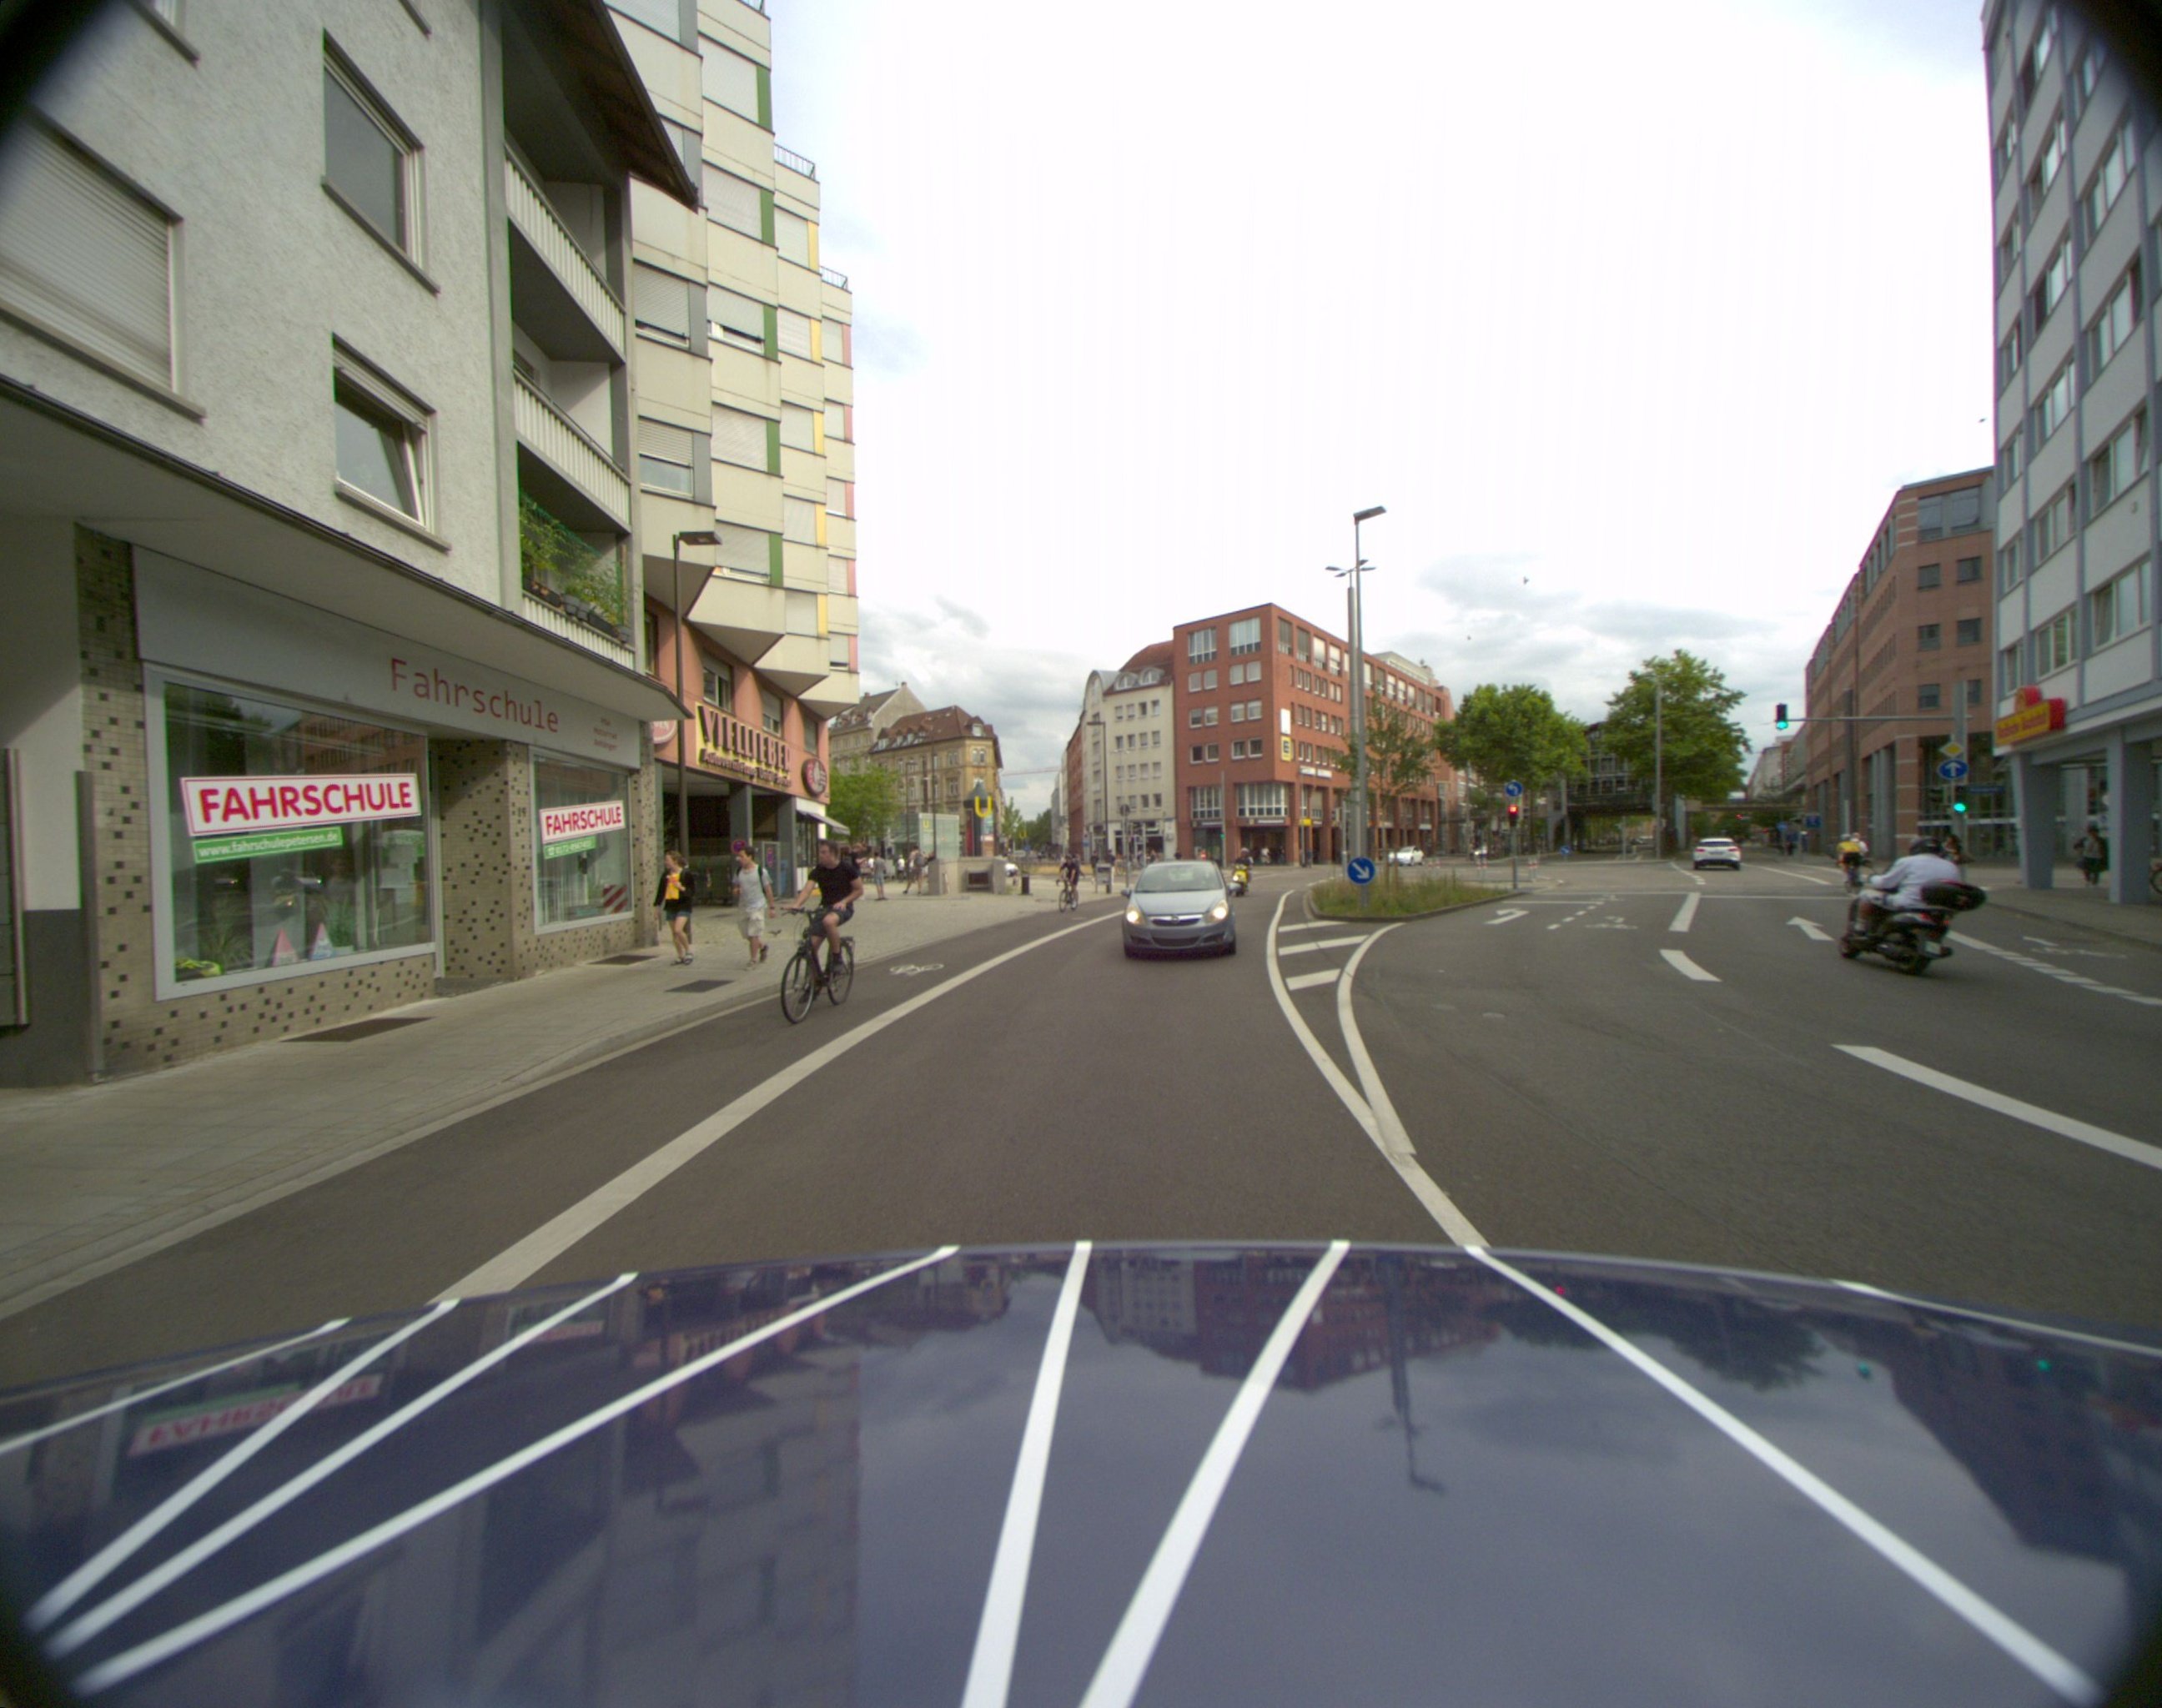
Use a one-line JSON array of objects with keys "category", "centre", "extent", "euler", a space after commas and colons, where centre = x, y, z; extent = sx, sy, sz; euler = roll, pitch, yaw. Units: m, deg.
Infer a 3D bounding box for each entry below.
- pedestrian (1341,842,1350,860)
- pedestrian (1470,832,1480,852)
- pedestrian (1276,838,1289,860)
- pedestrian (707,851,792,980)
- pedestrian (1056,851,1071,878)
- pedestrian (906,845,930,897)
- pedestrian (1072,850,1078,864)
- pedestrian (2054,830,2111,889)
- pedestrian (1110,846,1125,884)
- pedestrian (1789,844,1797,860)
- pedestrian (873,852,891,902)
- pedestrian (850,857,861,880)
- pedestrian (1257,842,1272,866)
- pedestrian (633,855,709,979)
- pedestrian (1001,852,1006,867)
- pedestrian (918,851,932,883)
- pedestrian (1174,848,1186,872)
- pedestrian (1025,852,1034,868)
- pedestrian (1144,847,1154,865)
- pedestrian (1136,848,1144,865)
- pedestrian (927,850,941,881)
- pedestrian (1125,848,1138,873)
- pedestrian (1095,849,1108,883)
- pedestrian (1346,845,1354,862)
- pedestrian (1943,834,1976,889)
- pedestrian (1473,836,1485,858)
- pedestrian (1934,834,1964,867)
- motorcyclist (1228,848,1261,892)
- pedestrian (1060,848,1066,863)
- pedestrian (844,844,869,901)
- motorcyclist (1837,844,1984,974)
[{"category": "pedestrian", "centre": [25.113, -0.320, 72.149], "extent": [0.646, 1.687, 0.699], "euler": [1, 3, 38]}, {"category": "pedestrian", "centre": [34.671, -1.039, 66.857], "extent": [0.578, 1.781, 0.534], "euler": [-2, 1, -30]}, {"category": "pedestrian", "centre": [18.789, -0.495, 70.683], "extent": [0.814, 2.002, 0.799], "euler": [-3, 0, 38]}, {"category": "pedestrian", "centre": [-4.705, 0.852, 10.842], "extent": [0.753, 1.739, 0.859], "euler": [2, -1, 2]}, {"category": "pedestrian", "centre": [-1.113, 0.650, 48.643], "extent": [0.633, 1.685, 0.708], "euler": [-1, 1, 42]}, {"category": "pedestrian", "centre": [-5.982, 0.606, 27.916], "extent": [0.658, 1.842, 0.971], "euler": [2, 1, -1]}, {"category": "pedestrian", "centre": [-0.719, 0.350, 89.860], "extent": [0.541, 1.712, 0.519], "euler": [-2, 1, -13]}, {"category": "pedestrian", "centre": [27.398, 0.144, 20.794], "extent": [0.660, 1.585, 0.688], "euler": [-1, 1, -3]}, {"category": "pedestrian", "centre": [1.956, 0.588, 40.287], "extent": [0.720, 1.960, 1.014], "euler": [1, 0, 4]}, {"category": "pedestrian", "centre": [69.529, -0.226, 74.153], "extent": [0.527, 1.564, 0.602], "euler": [0, 2, 40]}, {"category": "pedestrian", "centre": [-6.660, 0.758, 25.449], "extent": [0.474, 1.663, 0.589], "euler": [1, 1, -4]}, {"category": "pedestrian", "centre": [-15.956, 1.023, 53.731], "extent": [0.676, 1.632, 0.440], "euler": [-1, 1, 40]}, {"category": "pedestrian", "centre": [16.450, 0.005, 68.176], "extent": [0.998, 2.002, 1.045], "euler": [-3, 0, -1]}, {"category": "pedestrian", "centre": [-5.802, 0.860, 10.789], "extent": [0.606, 1.659, 0.943], "euler": [2, 1, -6]}, {"category": "pedestrian", "centre": [-8.594, 0.624, 84.445], "extent": [0.425, 1.675, 0.514], "euler": [-2, 1, -17]}, {"category": "pedestrian", "centre": [-9.069, 0.746, 44.255], "extent": [0.547, 1.856, 0.586], "euler": [0, 0, 36]}, {"category": "pedestrian", "centre": [7.417, 0.437, 56.725], "extent": [0.567, 1.813, 0.697], "euler": [0, 1, 40]}, {"category": "pedestrian", "centre": [-5.402, 0.592, 79.671], "extent": [0.606, 1.675, 0.732], "euler": [-2, 1, -26]}, {"category": "pedestrian", "centre": [6.286, 0.175, 70.237], "extent": [0.707, 1.638, 0.721], "euler": [-1, 0, -12]}, {"category": "pedestrian", "centre": [5.455, 0.229, 70.286], "extent": [0.593, 1.502, 0.629], "euler": [-1, 0, -12]}, {"category": "pedestrian", "centre": [-8.665, 0.671, 44.779], "extent": [0.489, 1.856, 0.586], "euler": [0, 0, 36]}, {"category": "pedestrian", "centre": [3.422, 0.409, 51.522], "extent": [0.519, 1.676, 0.727], "euler": [-1, 1, 41]}, {"category": "pedestrian", "centre": [1.084, 0.636, 40.643], "extent": [0.676, 1.789, 0.886], "euler": [1, 0, 1]}, {"category": "pedestrian", "centre": [26.131, -0.023, 73.860], "extent": [0.733, 1.623, 0.406], "euler": [-2, 3, -42]}, {"category": "pedestrian", "centre": [25.281, 0.220, 21.868], "extent": [0.499, 1.550, 0.519], "euler": [-1, 1, 33]}, {"category": "pedestrian", "centre": [33.806, -0.611, 64.552], "extent": [0.692, 1.864, 0.808], "euler": [-1, 1, 41]}, {"category": "pedestrian", "centre": [39.064, -0.149, 34.195], "extent": [0.797, 1.464, 0.686], "euler": [-1, 1, 41]}, {"category": "motorcyclist", "centre": [5.847, 0.566, 27.140], "extent": [0.870, 1.508, 1.046], "euler": [-1, 1, 30]}, {"category": "pedestrian", "centre": [-2.117, 0.157, 89.900], "extent": [0.592, 1.712, 0.519], "euler": [-1, 1, -12]}, {"category": "pedestrian", "centre": [-7.540, 0.613, 25.555], "extent": [0.674, 1.892, 0.589], "euler": [1, 1, -4]}, {"category": "motorcyclist", "centre": [9.799, 0.612, 9.021], "extent": [0.797, 1.452, 0.866], "euler": [1, 2, 14]}]
